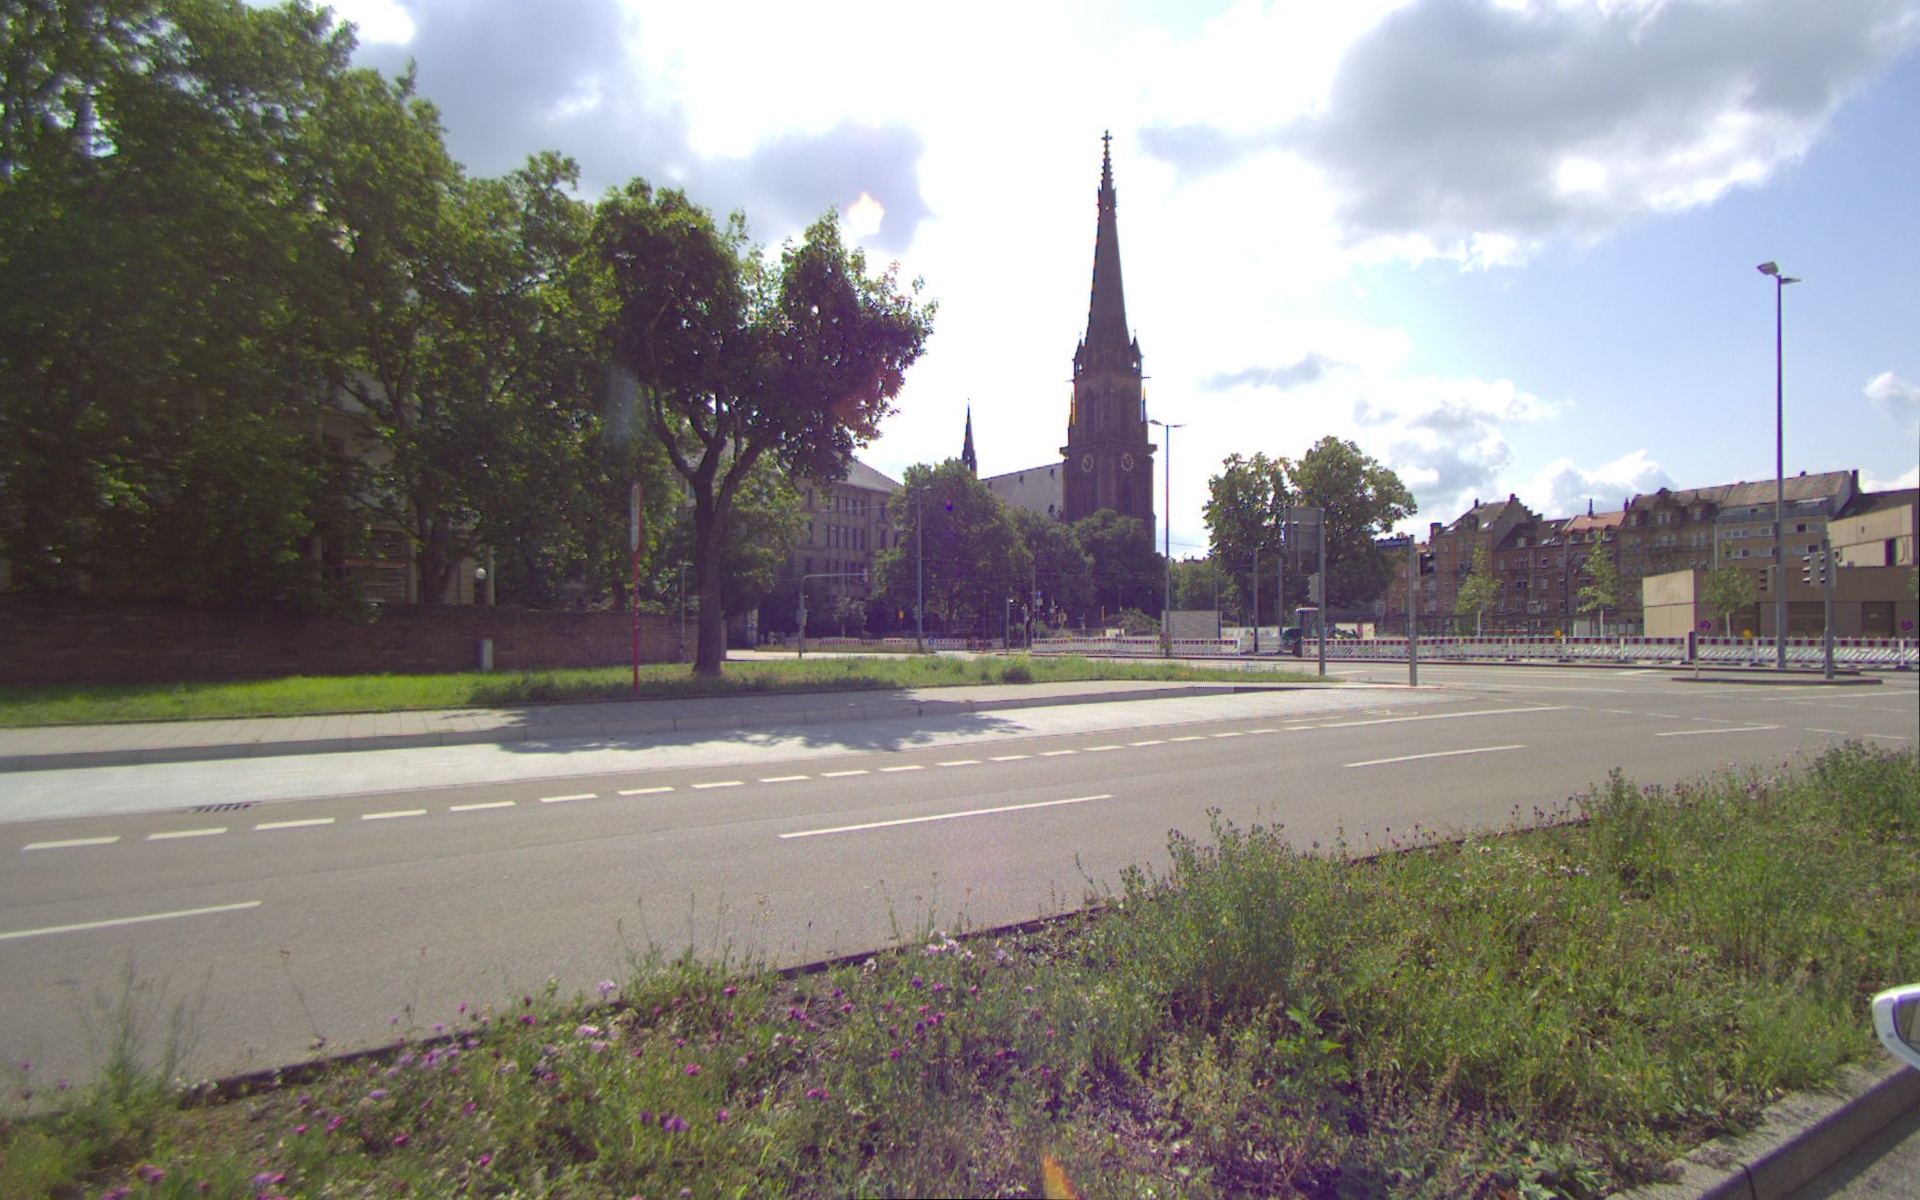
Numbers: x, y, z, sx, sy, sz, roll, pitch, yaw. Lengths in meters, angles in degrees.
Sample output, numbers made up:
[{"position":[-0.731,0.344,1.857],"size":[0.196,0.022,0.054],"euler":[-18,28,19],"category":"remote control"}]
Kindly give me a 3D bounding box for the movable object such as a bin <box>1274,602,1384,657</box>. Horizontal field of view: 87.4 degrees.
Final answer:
[{"position":[20.168,1.613,55.156],"size":[5.430,2.922,2.290],"euler":[0,-2,13],"category":"movable object such as a bin"}]

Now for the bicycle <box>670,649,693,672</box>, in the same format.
[{"position":[-12.919,2.801,46.663],"size":[0.386,1.005,1.524],"euler":[0,-2,11],"category":"bicycle"}]

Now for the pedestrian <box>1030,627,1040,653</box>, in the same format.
[{"position":[5.540,2.942,74.110],"size":[0.492,1.874,0.526],"euler":[1,-2,-24],"category":"pedestrian"}]

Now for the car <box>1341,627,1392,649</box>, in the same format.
[{"position":[35.914,3.345,88.778],"size":[4.098,1.906,1.803],"euler":[0,-2,21],"category":"car"}]
